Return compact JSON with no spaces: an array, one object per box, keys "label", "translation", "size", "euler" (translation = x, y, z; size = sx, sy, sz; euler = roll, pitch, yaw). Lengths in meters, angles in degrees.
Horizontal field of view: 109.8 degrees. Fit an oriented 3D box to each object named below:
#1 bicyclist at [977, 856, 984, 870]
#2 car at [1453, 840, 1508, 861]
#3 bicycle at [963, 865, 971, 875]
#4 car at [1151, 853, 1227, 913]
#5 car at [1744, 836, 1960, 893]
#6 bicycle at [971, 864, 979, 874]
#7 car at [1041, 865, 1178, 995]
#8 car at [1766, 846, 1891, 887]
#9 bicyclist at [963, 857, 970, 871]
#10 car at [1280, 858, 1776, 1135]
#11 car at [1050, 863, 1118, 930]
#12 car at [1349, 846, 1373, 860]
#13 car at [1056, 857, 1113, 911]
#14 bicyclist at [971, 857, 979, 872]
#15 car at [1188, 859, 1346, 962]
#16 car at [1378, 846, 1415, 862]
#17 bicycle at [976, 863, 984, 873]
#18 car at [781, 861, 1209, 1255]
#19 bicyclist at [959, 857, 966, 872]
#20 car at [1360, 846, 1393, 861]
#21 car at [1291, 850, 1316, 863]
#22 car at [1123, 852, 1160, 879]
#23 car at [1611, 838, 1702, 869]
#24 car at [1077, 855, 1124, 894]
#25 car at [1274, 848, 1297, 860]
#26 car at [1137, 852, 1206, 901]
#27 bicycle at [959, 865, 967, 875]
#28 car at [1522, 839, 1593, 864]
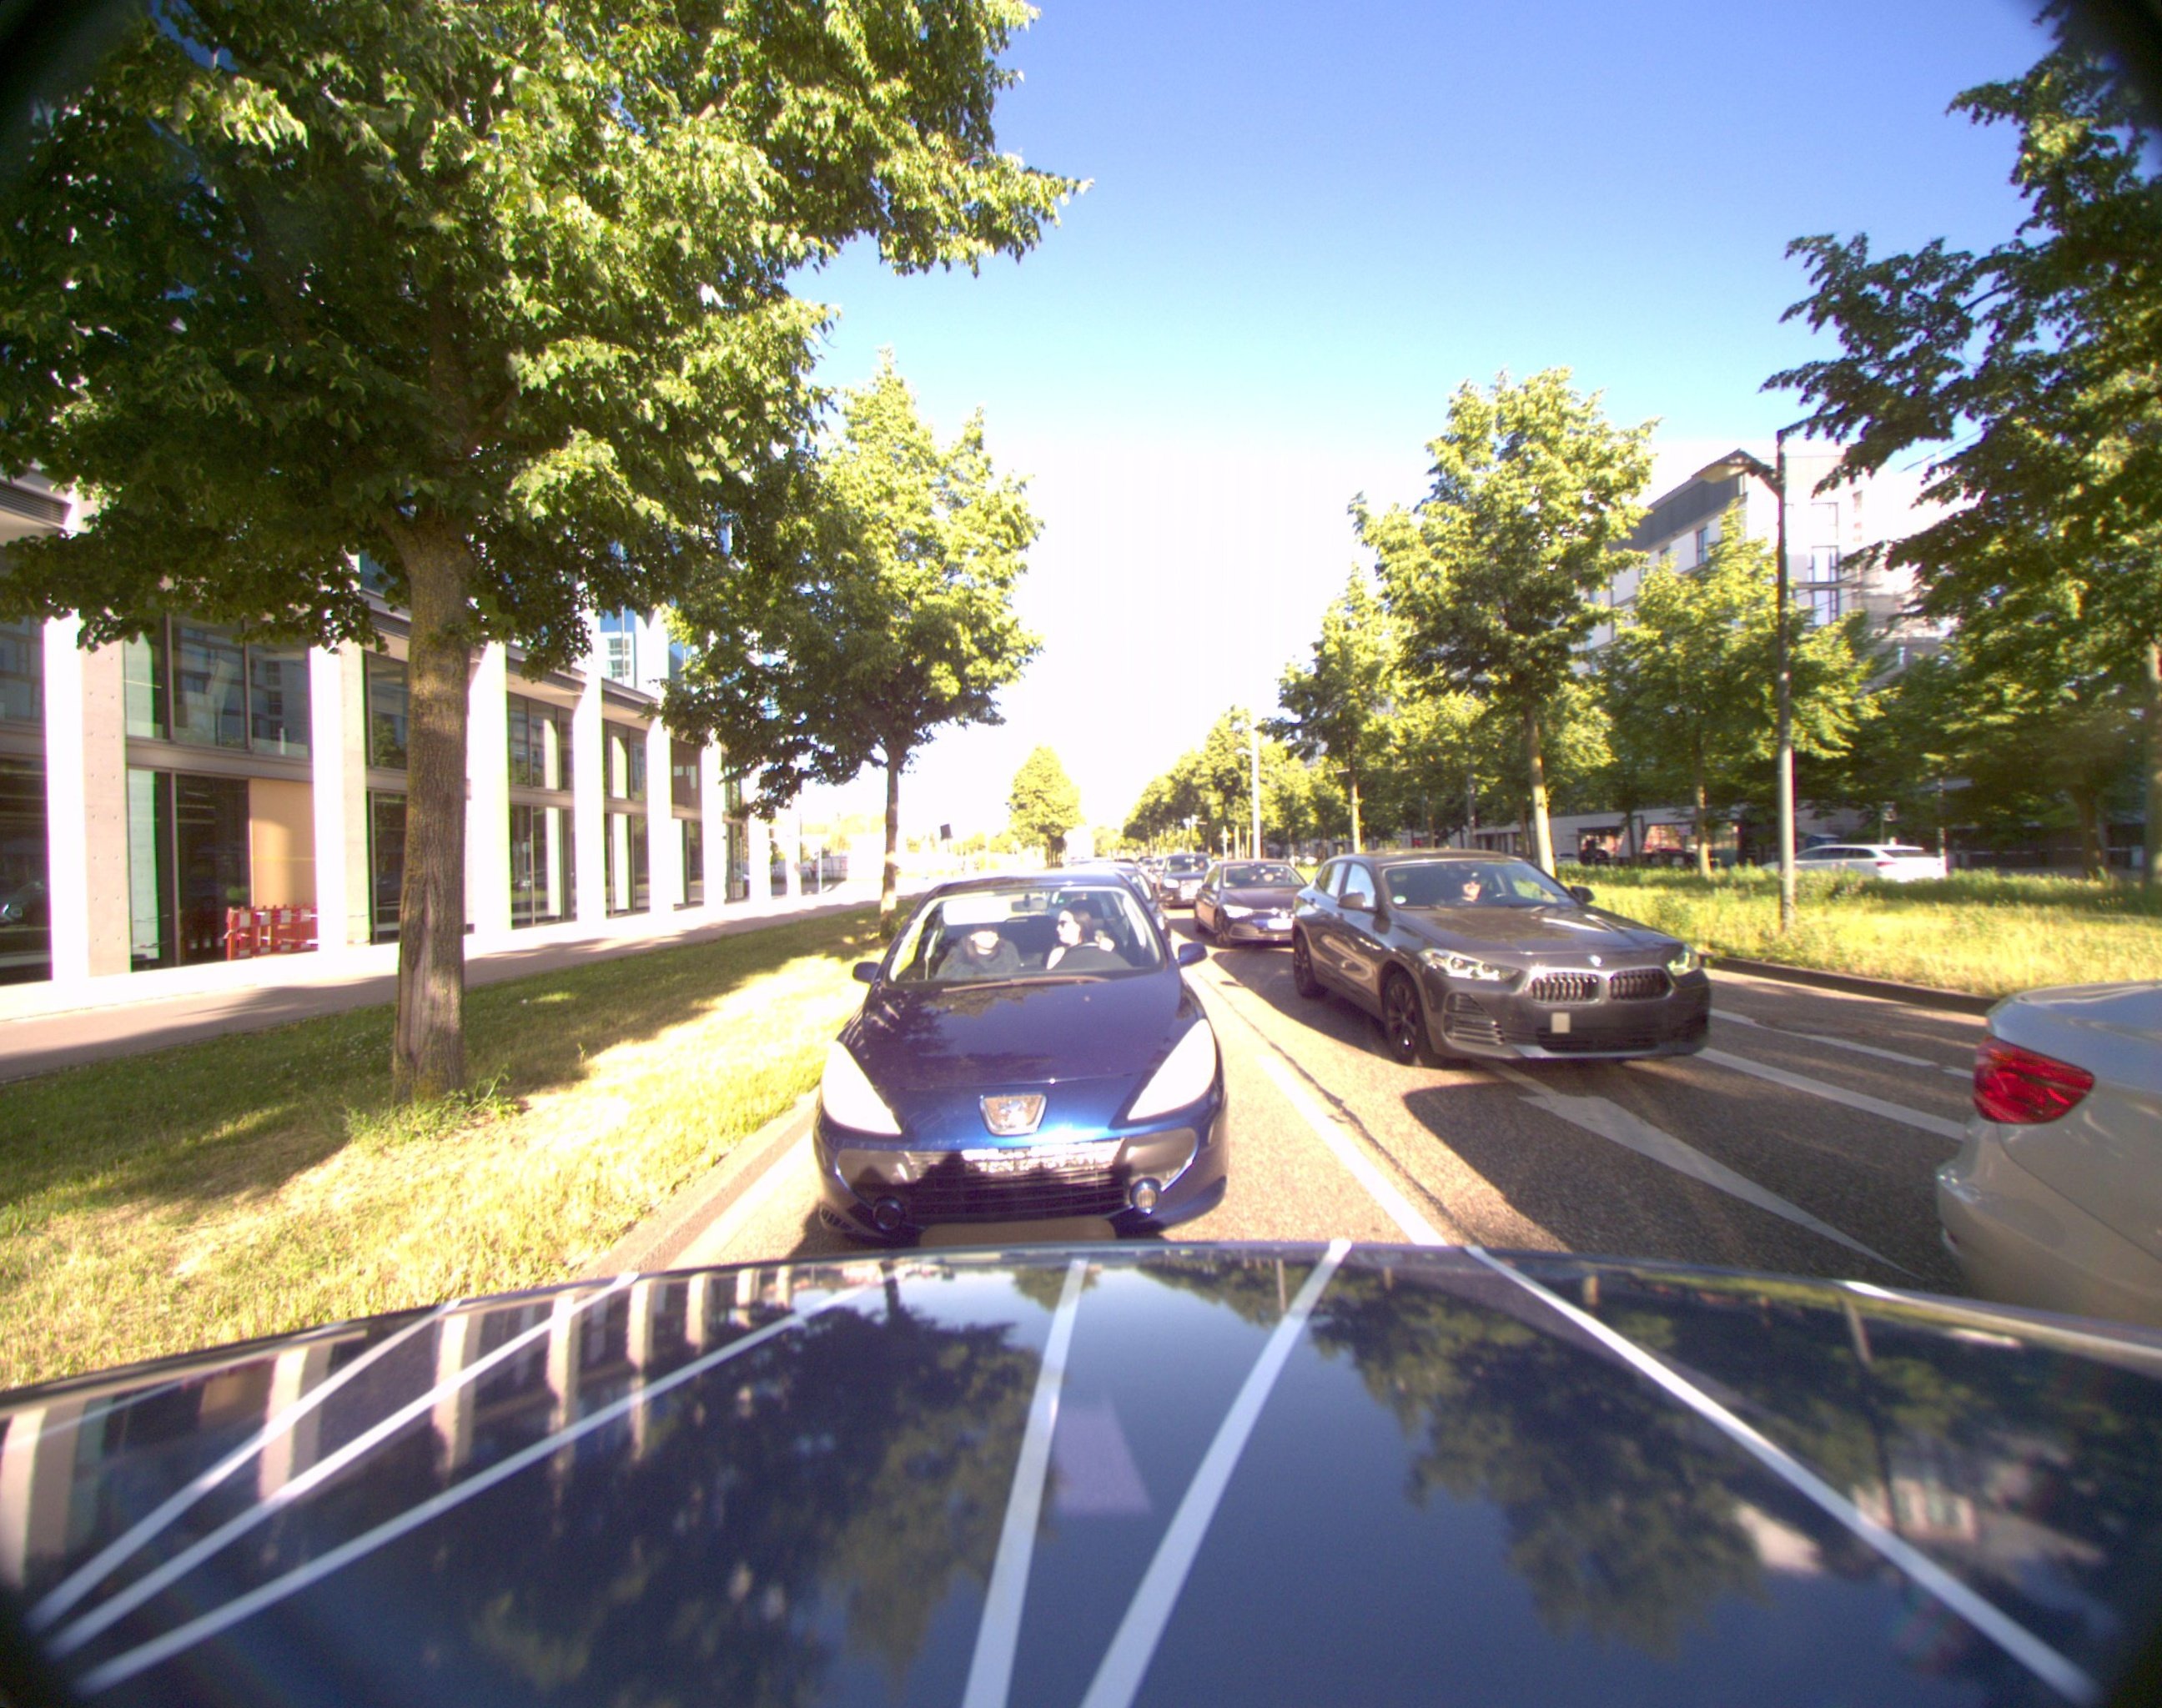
[{"label":"bicyclist","translation":[-9.245,0.813,69.701],"size":[0.534,1.282,0.521],"euler":[-2,1,1]},{"label":"car","translation":[34.636,-0.270,66.066],"size":[2.012,1.689,4.791],"euler":[-1,0,-3]},{"label":"bicycle","translation":[-10.419,1.433,69.204],"size":[0.464,0.813,1.344],"euler":[-2,1,1]},{"label":"car","translation":[3.133,0.797,22.776],"size":[1.812,1.581,4.165],"euler":[-1,0,2]},{"label":"car","translation":[23.353,0.273,23.343],"size":[1.858,1.528,4.735],"euler":[-1,0,1]},{"label":"bicycle","translation":[-9.111,1.315,65.493],"size":[0.464,0.813,1.344],"euler":[-2,1,1]},{"label":"car","translation":[0.374,0.947,11.390],"size":[1.612,1.463,4.395],"euler":[-1,0,1]},{"label":"car","translation":[34.244,0.554,34.988],"size":[1.858,1.739,4.000],"euler":[-1,0,1]},{"label":"bicyclist","translation":[-10.445,0.892,69.252],"size":[0.534,1.282,0.457],"euler":[-2,1,1]},{"label":"car","translation":[3.086,0.830,6.363],"size":[1.812,1.513,4.029],"euler":[-1,0,1]},{"label":"car","translation":[0.086,0.927,18.079],"size":[1.407,1.326,3.785],"euler":[-1,0,1]},{"label":"car","translation":[34.713,-0.160,94.201],"size":[1.601,1.659,3.743],"euler":[-1,0,1]},{"label":"car","translation":[0.132,0.912,25.131],"size":[1.705,1.591,3.785],"euler":[-1,0,1]},{"label":"bicyclist","translation":[-9.129,0.892,65.495],"size":[0.534,1.210,0.507],"euler":[-2,1,1]},{"label":"car","translation":[3.051,0.850,13.371],"size":[1.812,1.445,4.254],"euler":[-1,0,2]},{"label":"car","translation":[34.672,0.002,83.566],"size":[2.012,1.689,4.791],"euler":[-1,0,-1]},{"label":"bicycle","translation":[-9.225,1.285,69.662],"size":[0.464,0.813,1.344],"euler":[-2,1,1]},{"label":"car","translation":[-0.319,0.843,4.953],"size":[1.686,1.513,3.785],"euler":[-1,0,1]},{"label":"bicyclist","translation":[-10.166,0.897,65.349],"size":[0.448,1.282,0.418],"euler":[-2,1,1]},{"label":"car","translation":[34.703,-0.048,89.372],"size":[2.012,1.689,4.791],"euler":[-1,0,-1]},{"label":"car","translation":[24.877,0.260,85.141],"size":[1.666,1.384,4.000],"euler":[-1,0,1]},{"label":"car","translation":[4.025,0.726,51.186],"size":[2.012,1.689,4.791],"euler":[-1,0,-1]},{"label":"car","translation":[34.426,-0.037,45.603],"size":[1.858,1.674,4.792],"euler":[-1,0,1]},{"label":"car","translation":[0.868,0.908,36.623],"size":[2.012,1.689,4.791],"euler":[-1,0,-1]},{"label":"car","translation":[28.822,0.000,107.213],"size":[1.858,1.719,4.792],"euler":[-1,0,1]},{"label":"car","translation":[3.383,0.803,29.224],"size":[2.012,1.689,4.791],"euler":[-1,0,-1]},{"label":"bicycle","translation":[-10.174,1.358,65.345],"size":[0.415,0.813,1.320],"euler":[-2,1,1]},{"label":"car","translation":[34.839,-0.169,55.727],"size":[2.012,1.689,4.791],"euler":[-1,0,-3]}]
